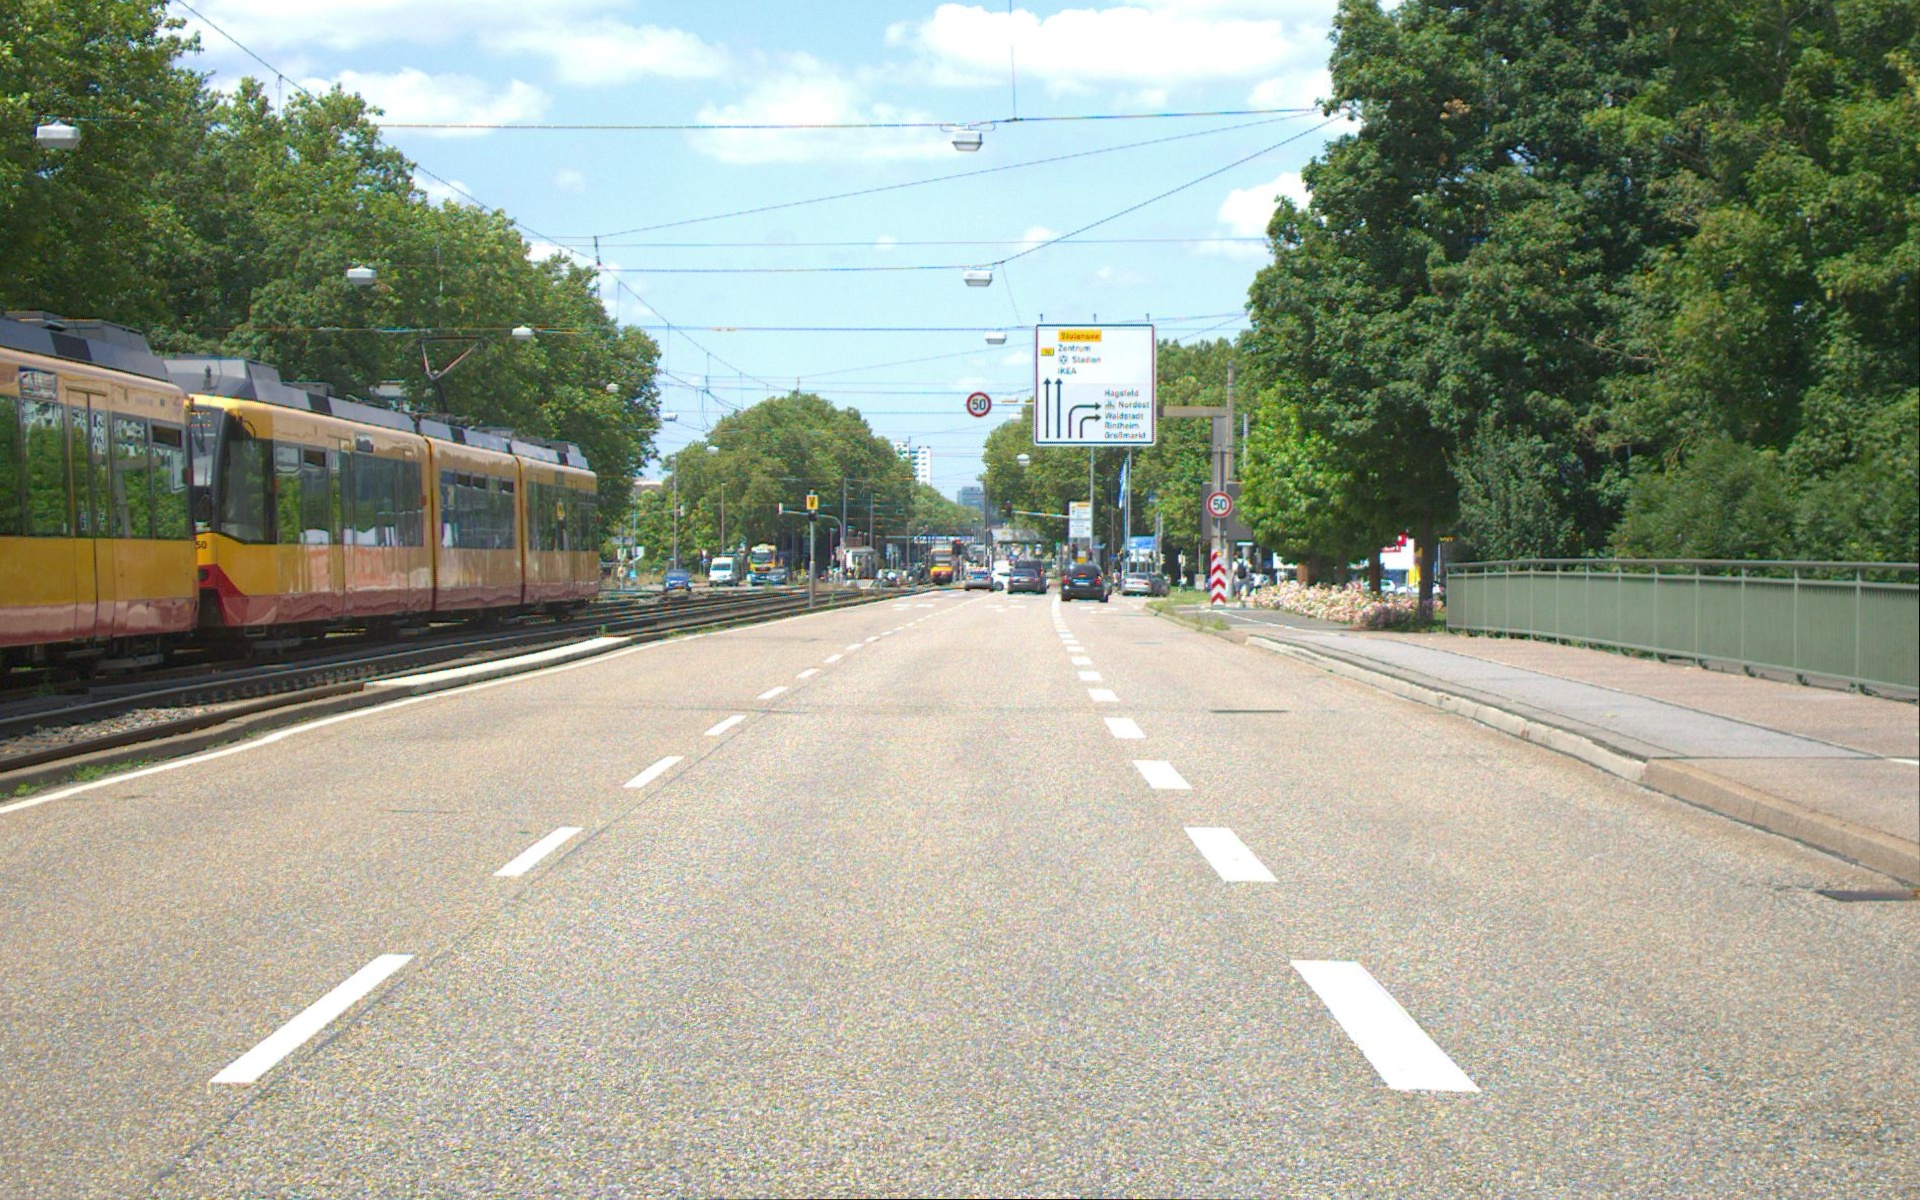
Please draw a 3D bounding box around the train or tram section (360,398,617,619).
[{"bbox_3d":[-9.534,-1.824,71.382,3.038,4.126,13.982,0,1,1],"label":"train or tram section"}]

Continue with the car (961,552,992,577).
[{"bbox_3d":[1.043,-2.318,222.150,1.842,1.544,3.777,2,1,-1],"label":"car"}]

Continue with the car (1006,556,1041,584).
[{"bbox_3d":[3.617,-1.713,195.333,1.876,1.534,3.777,2,1,0],"label":"car"}]

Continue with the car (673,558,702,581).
[{"bbox_3d":[-18.563,-2.070,234.138,1.644,1.545,4.217,2,1,-1],"label":"car"}]

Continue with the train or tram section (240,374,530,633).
[{"bbox_3d":[-9.845,-1.625,60.161,3.038,4.134,10.233,0,1,2],"label":"train or tram section"}]

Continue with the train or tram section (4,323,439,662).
[{"bbox_3d":[-10.112,-1.431,49.039,3.038,4.140,13.482,0,1,1],"label":"train or tram section"}]

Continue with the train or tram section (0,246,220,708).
[{"bbox_3d":[-10.354,-1.168,33.898,3.048,4.252,14.037,0,1,0],"label":"train or tram section"}]

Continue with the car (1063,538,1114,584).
[{"bbox_3d":[5.290,-1.608,142.035,1.899,1.799,3.976,2,1,0],"label":"car"}]
